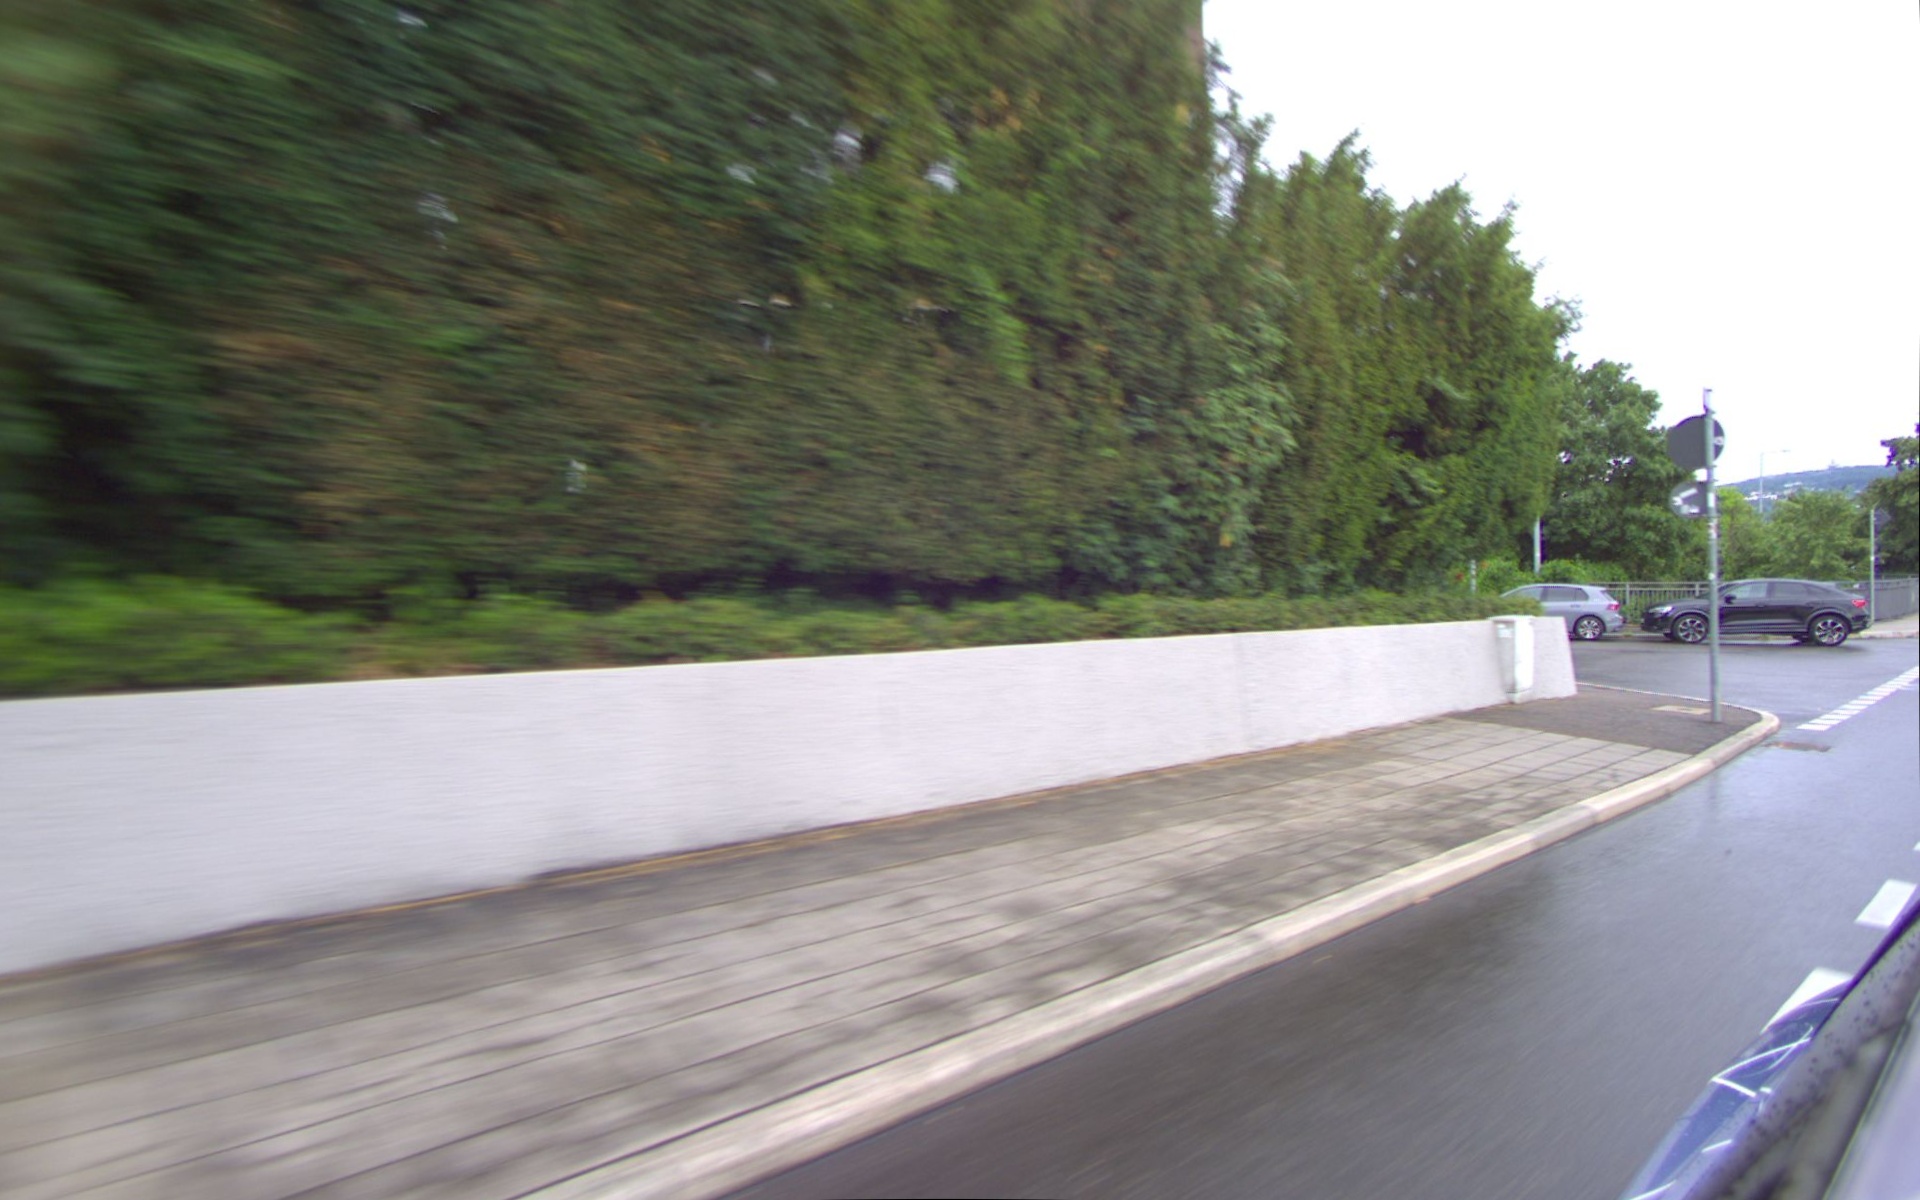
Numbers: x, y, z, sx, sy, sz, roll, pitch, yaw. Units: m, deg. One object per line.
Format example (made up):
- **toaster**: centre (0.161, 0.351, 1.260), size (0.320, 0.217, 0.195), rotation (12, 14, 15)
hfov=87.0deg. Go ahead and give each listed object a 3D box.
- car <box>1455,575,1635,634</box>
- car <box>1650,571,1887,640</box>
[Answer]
- **car**: centre (15.416, 0.111, 26.915), size (4.018, 1.443, 1.784), rotation (-1, 2, 28)
- **car**: centre (19.561, 0.121, 24.746), size (4.160, 1.542, 1.982), rotation (0, 1, 27)
